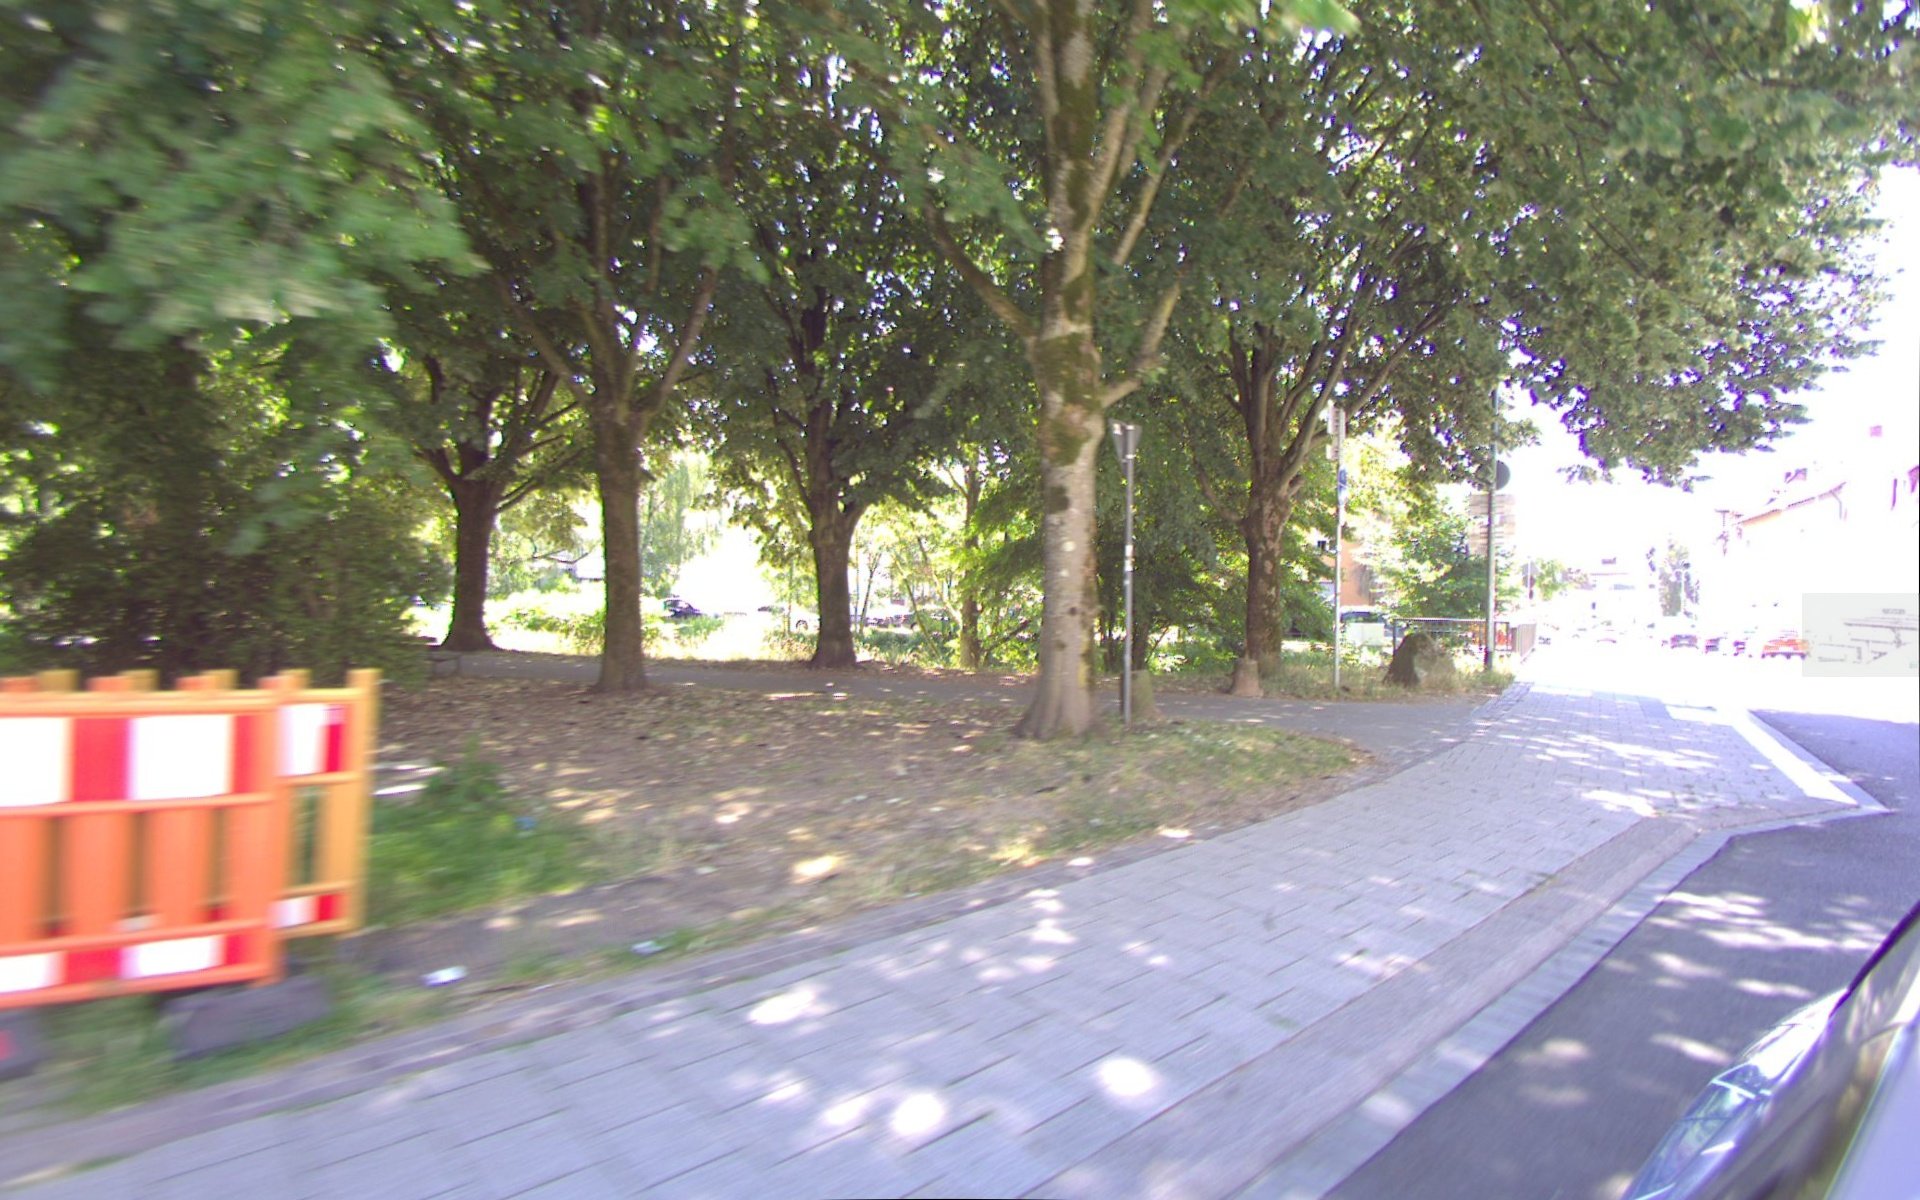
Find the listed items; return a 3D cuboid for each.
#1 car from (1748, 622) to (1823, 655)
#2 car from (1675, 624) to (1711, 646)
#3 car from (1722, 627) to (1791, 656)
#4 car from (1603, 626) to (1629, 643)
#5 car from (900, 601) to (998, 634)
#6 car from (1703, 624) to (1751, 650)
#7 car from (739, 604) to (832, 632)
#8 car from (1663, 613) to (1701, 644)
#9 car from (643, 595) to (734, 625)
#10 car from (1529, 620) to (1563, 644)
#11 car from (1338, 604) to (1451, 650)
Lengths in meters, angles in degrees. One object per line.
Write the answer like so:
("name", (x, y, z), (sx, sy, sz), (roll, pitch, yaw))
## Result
("car", (39.302, 1.819, 48.302), (1.866, 1.499, 4.689), (-2, -2, 28))
("car", (55.291, 2.649, 76.342), (2.080, 1.635, 5.038), (-1, -2, 37))
("car", (41.972, 2.173, 53.460), (1.852, 1.481, 5.254), (-1, -2, 28))
("car", (64.600, 3.388, 99.723), (1.868, 1.617, 4.312), (3, 0, 30))
("car", (-0.537, 0.841, 49.650), (4.458, 1.440, 1.748), (1, 1, 21))
("car", (44.555, 2.151, 58.824), (1.779, 1.478, 4.148), (-2, -3, 32))
("car", (-9.059, 0.925, 52.618), (4.458, 1.399, 1.895), (0, -1, 21))
("car", (61.121, 2.397, 85.717), (2.109, 2.481, 6.048), (-1, -2, 31))
("car", (-14.666, 0.560, 54.657), (4.458, 1.550, 1.986), (0, -1, 21))
("car", (41.722, 2.247, 72.144), (1.823, 1.523, 5.013), (4, 0, 28))
("car", (18.218, 1.091, 42.639), (4.298, 1.862, 1.738), (0, -1, 21))
